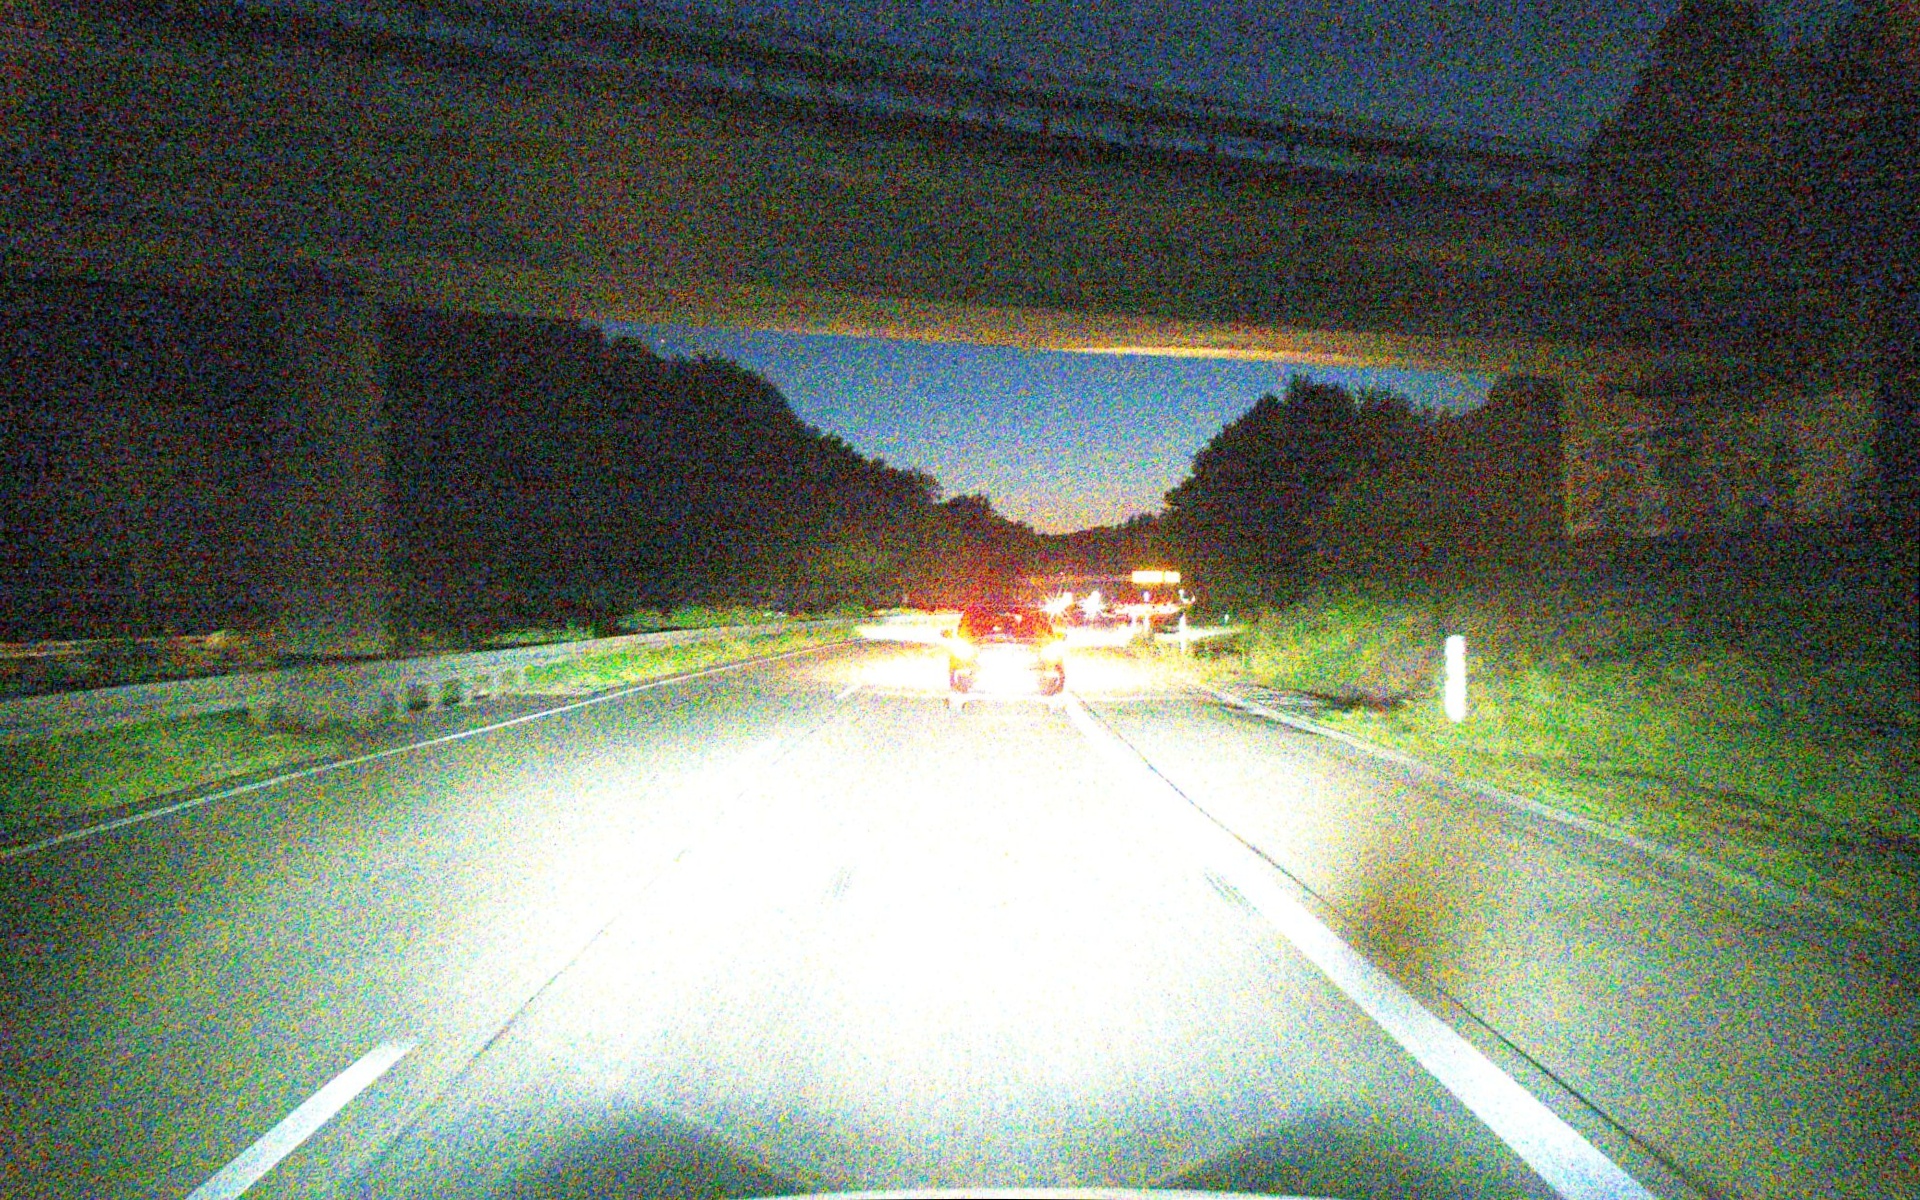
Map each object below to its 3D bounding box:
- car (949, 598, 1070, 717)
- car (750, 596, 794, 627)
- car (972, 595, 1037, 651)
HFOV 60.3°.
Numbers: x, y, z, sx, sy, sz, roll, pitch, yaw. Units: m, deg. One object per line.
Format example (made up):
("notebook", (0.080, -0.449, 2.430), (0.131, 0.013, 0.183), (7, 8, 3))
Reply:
("car", (0.639, 0.759, 23.890), (1.556, 1.534, 3.999), (1, 0, -1))
("car", (-10.475, 0.641, 92.450), (1.953, 1.686, 4.534), (0, 0, 0))
("car", (1.473, 0.695, 53.434), (1.866, 1.728, 4.002), (0, 0, 5))
